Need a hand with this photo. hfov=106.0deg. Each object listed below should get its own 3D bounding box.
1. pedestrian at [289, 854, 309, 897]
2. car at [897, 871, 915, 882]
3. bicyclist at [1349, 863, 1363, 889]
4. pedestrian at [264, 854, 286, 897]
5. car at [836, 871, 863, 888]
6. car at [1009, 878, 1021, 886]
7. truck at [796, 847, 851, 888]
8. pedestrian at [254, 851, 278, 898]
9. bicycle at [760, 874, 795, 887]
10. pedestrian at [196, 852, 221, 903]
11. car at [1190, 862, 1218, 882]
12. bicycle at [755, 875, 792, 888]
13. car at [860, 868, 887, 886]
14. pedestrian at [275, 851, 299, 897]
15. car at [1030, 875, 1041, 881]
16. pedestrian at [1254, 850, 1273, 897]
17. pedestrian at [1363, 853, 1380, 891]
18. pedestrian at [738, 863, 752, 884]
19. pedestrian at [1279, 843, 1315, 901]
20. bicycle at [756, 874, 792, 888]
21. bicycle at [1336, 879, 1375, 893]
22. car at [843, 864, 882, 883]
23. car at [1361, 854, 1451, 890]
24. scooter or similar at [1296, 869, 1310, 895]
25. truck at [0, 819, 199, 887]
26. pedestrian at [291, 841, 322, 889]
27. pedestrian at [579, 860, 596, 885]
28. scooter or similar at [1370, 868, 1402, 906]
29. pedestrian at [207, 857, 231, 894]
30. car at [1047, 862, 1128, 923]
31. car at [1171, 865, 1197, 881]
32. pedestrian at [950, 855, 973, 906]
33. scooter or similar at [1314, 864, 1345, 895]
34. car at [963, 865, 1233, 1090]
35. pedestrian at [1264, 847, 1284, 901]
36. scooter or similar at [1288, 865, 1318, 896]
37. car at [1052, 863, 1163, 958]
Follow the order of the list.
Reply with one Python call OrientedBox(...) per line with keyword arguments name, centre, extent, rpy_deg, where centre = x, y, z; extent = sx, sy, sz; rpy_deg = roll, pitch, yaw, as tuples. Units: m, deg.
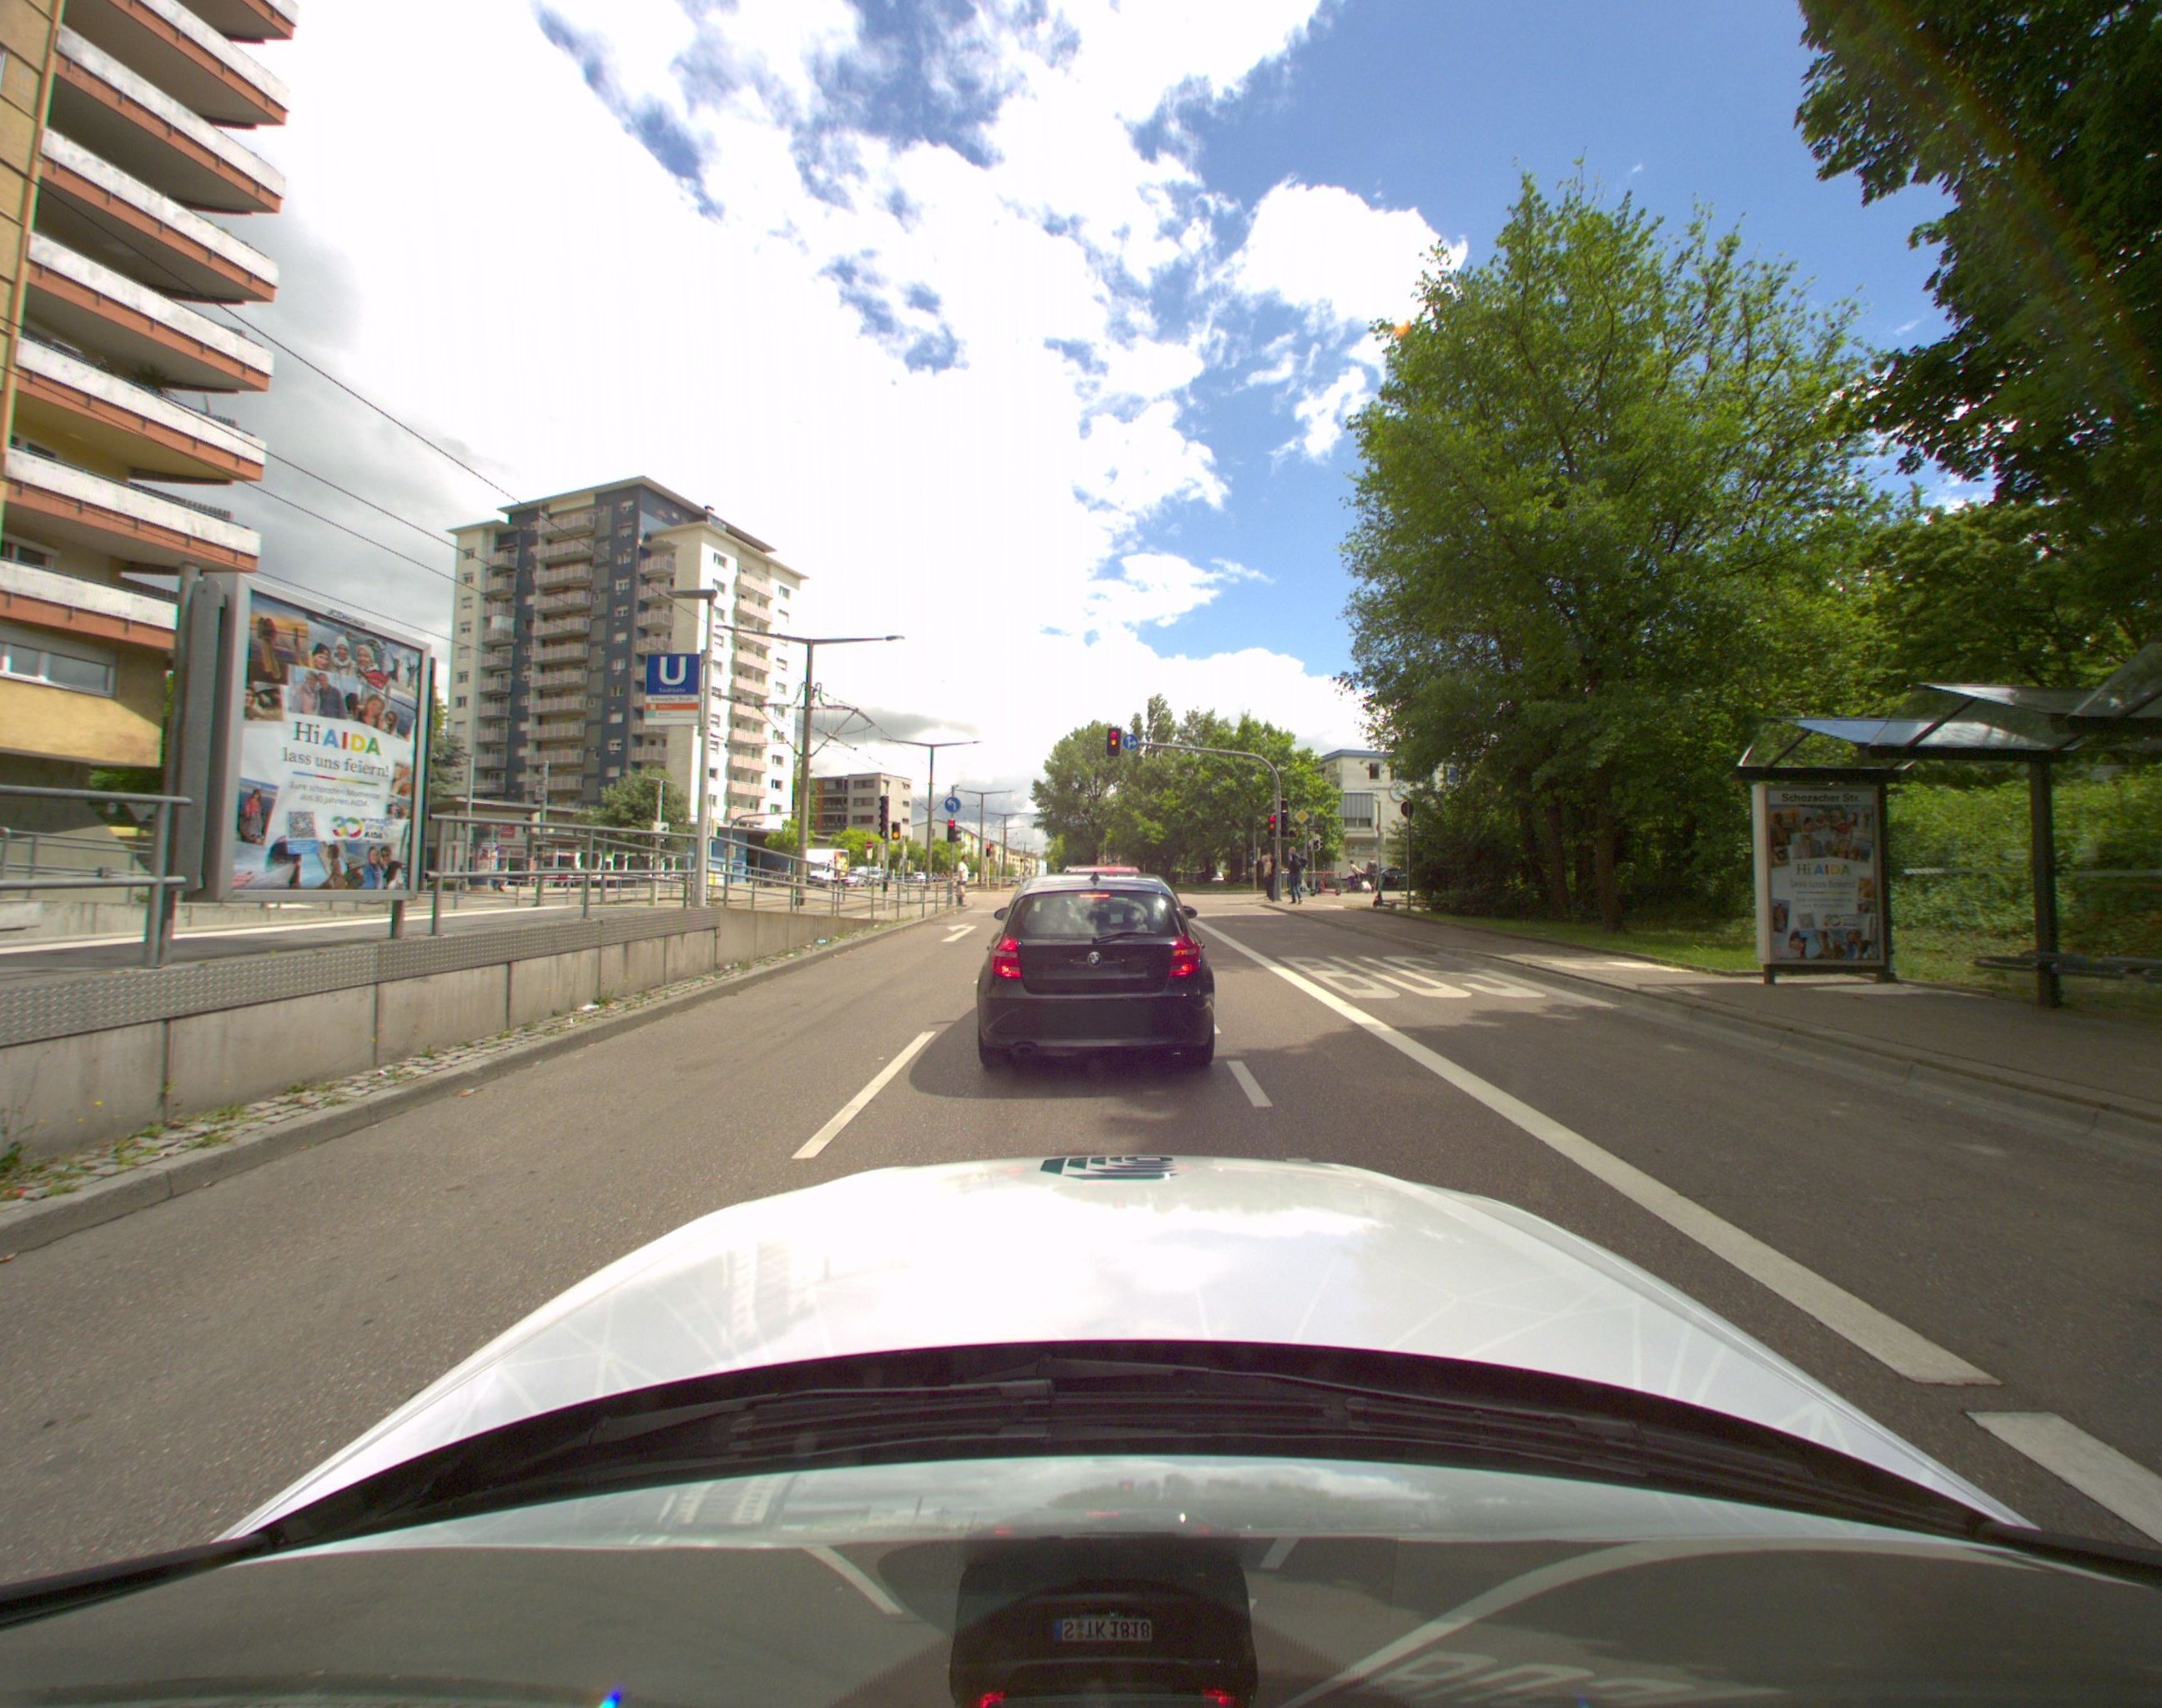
OrientedBox(name="pedestrian", centre=(-36.334, 0.994, 37.854), extent=(0.542, 2.014, 0.556), rpy_deg=(0, -1, -30))
OrientedBox(name="car", centre=(-24.137, 3.051, 112.665), extent=(1.586, 1.474, 3.775), rpy_deg=(0, -1, 1))
OrientedBox(name="bicyclist", centre=(12.435, 1.004, 36.833), extent=(0.394, 1.157, 0.506), rpy_deg=(-1, -1, 41))
OrientedBox(name="pedestrian", centre=(-37.962, 1.010, 38.376), extent=(0.541, 2.014, 0.557), rpy_deg=(0, -1, -24))
OrientedBox(name="car", centre=(-20.856, 2.256, 73.551), extent=(1.402, 1.461, 3.773), rpy_deg=(0, -1, 0))
OrientedBox(name="car", centre=(-13.946, 5.957, 172.244), extent=(1.642, 1.534, 3.880), rpy_deg=(0, -1, 8))
OrientedBox(name="truck", centre=(-20.585, 1.102, 65.460), extent=(2.275, 3.118, 7.312), rpy_deg=(0, -1, -2))
OrientedBox(name="pedestrian", centre=(-35.361, 0.870, 35.339), extent=(0.540, 2.014, 0.558), rpy_deg=(0, -1, -19))
OrientedBox(name="bicycle", centre=(-24.268, 2.143, 65.080), extent=(2.570, 1.009, 0.749), rpy_deg=(2, -3, -27))
OrientedBox(name="pedestrian", centre=(-35.092, 0.944, 32.762), extent=(0.542, 2.014, 0.557), rpy_deg=(0, -1, -30))
OrientedBox(name="car", centre=(11.946, 1.754, 79.601), extent=(1.724, 1.871, 3.990), rpy_deg=(0, -1, -7))
OrientedBox(name="bicycle", centre=(-23.814, 2.121, 63.094), extent=(2.570, 1.009, 0.749), rpy_deg=(2, -3, -27))
OrientedBox(name="car", centre=(-20.413, 2.247, 80.337), extent=(1.586, 1.756, 3.775), rpy_deg=(0, -1, 1))
OrientedBox(name="pedestrian", centre=(-35.350, 0.889, 36.270), extent=(0.604, 2.014, 0.556), rpy_deg=(0, -1, -26))
OrientedBox(name="car", centre=(-10.706, 5.648, 191.874), extent=(1.641, 1.534, 3.881), rpy_deg=(-1, -1, 9))
OrientedBox(name="pedestrian", centre=(6.835, 0.728, 30.472), extent=(0.632, 1.766, 0.519), rpy_deg=(0, -1, 8))
OrientedBox(name="pedestrian", centre=(13.408, 0.835, 37.542), extent=(0.651, 1.713, 0.464), rpy_deg=(-1, -1, 28))
OrientedBox(name="pedestrian", centre=(-32.350, 1.831, 78.393), extent=(0.852, 2.014, 0.851), rpy_deg=(-1, -1, 19))
OrientedBox(name="pedestrian", centre=(7.234, 0.592, 27.228), extent=(1.001, 1.876, 0.802), rpy_deg=(-2, -1, 23))
OrientedBox(name="bicycle", centre=(-24.145, 2.133, 63.976), extent=(2.570, 1.009, 0.749), rpy_deg=(2, -3, -27))
OrientedBox(name="bicycle", centre=(12.418, 1.440, 36.850), extent=(1.570, 0.610, 0.538), rpy_deg=(-1, -1, 42))
OrientedBox(name="car", centre=(-24.131, 2.148, 90.031), extent=(3.945, 1.975, 1.637), rpy_deg=(0, -1, -41))
OrientedBox(name="car", centre=(19.239, 1.061, 48.328), extent=(4.529, 2.014, 1.996), rpy_deg=(0, -1, -6))
OrientedBox(name="scooter or similar", centre=(9.487, 1.178, 34.801), extent=(0.543, 1.064, 1.267), rpy_deg=(0, -1, 16))
OrientedBox(name="truck", centre=(-34.569, -0.021, 28.759), extent=(4.262, 2.290, 2.352), rpy_deg=(0, -1, 2))
OrientedBox(name="pedestrian", centre=(-29.456, 0.417, 30.973), extent=(0.650, 1.776, 0.667), rpy_deg=(-1, -1, 30))
OrientedBox(name="pedestrian", centre=(-39.625, 1.473, 65.418), extent=(0.851, 2.014, 0.852), rpy_deg=(-1, -1, 29))
OrientedBox(name="scooter or similar", centre=(10.619, 1.150, 28.389), extent=(0.886, 1.230, 0.455), rpy_deg=(4, -1, 2))
OrientedBox(name="pedestrian", centre=(-34.273, 0.852, 32.391), extent=(0.493, 1.440, 0.553), rpy_deg=(-5, -2, 35))
OrientedBox(name="car", centre=(0.221, 0.920, 21.194), extent=(1.893, 1.422, 4.540), rpy_deg=(0, -1, 2))
OrientedBox(name="car", centre=(11.436, 2.087, 90.564), extent=(1.862, 1.662, 3.987), rpy_deg=(0, -1, -9))
OrientedBox(name="pedestrian", centre=(-4.091, 0.902, 27.837), extent=(0.688, 1.734, 0.684), rpy_deg=(0, -1, -15))
OrientedBox(name="scooter or similar", centre=(10.295, 1.042, 33.794), extent=(1.145, 1.272, 0.556), rpy_deg=(1, -1, 4))
OrientedBox(name="car", centre=(0.158, 0.800, 6.842), extent=(1.694, 1.400, 3.421), rpy_deg=(0, -1, 2))
OrientedBox(name="pedestrian", centre=(6.798, 0.713, 28.653), extent=(0.632, 1.876, 0.519), rpy_deg=(0, -1, 8))
OrientedBox(name="scooter or similar", centre=(8.980, 1.068, 32.989), extent=(1.105, 1.235, 0.540), rpy_deg=(0, -1, 4))
OrientedBox(name="car", centre=(0.450, 0.856, 13.743), extent=(1.632, 1.400, 3.421), rpy_deg=(0, -1, 2))
